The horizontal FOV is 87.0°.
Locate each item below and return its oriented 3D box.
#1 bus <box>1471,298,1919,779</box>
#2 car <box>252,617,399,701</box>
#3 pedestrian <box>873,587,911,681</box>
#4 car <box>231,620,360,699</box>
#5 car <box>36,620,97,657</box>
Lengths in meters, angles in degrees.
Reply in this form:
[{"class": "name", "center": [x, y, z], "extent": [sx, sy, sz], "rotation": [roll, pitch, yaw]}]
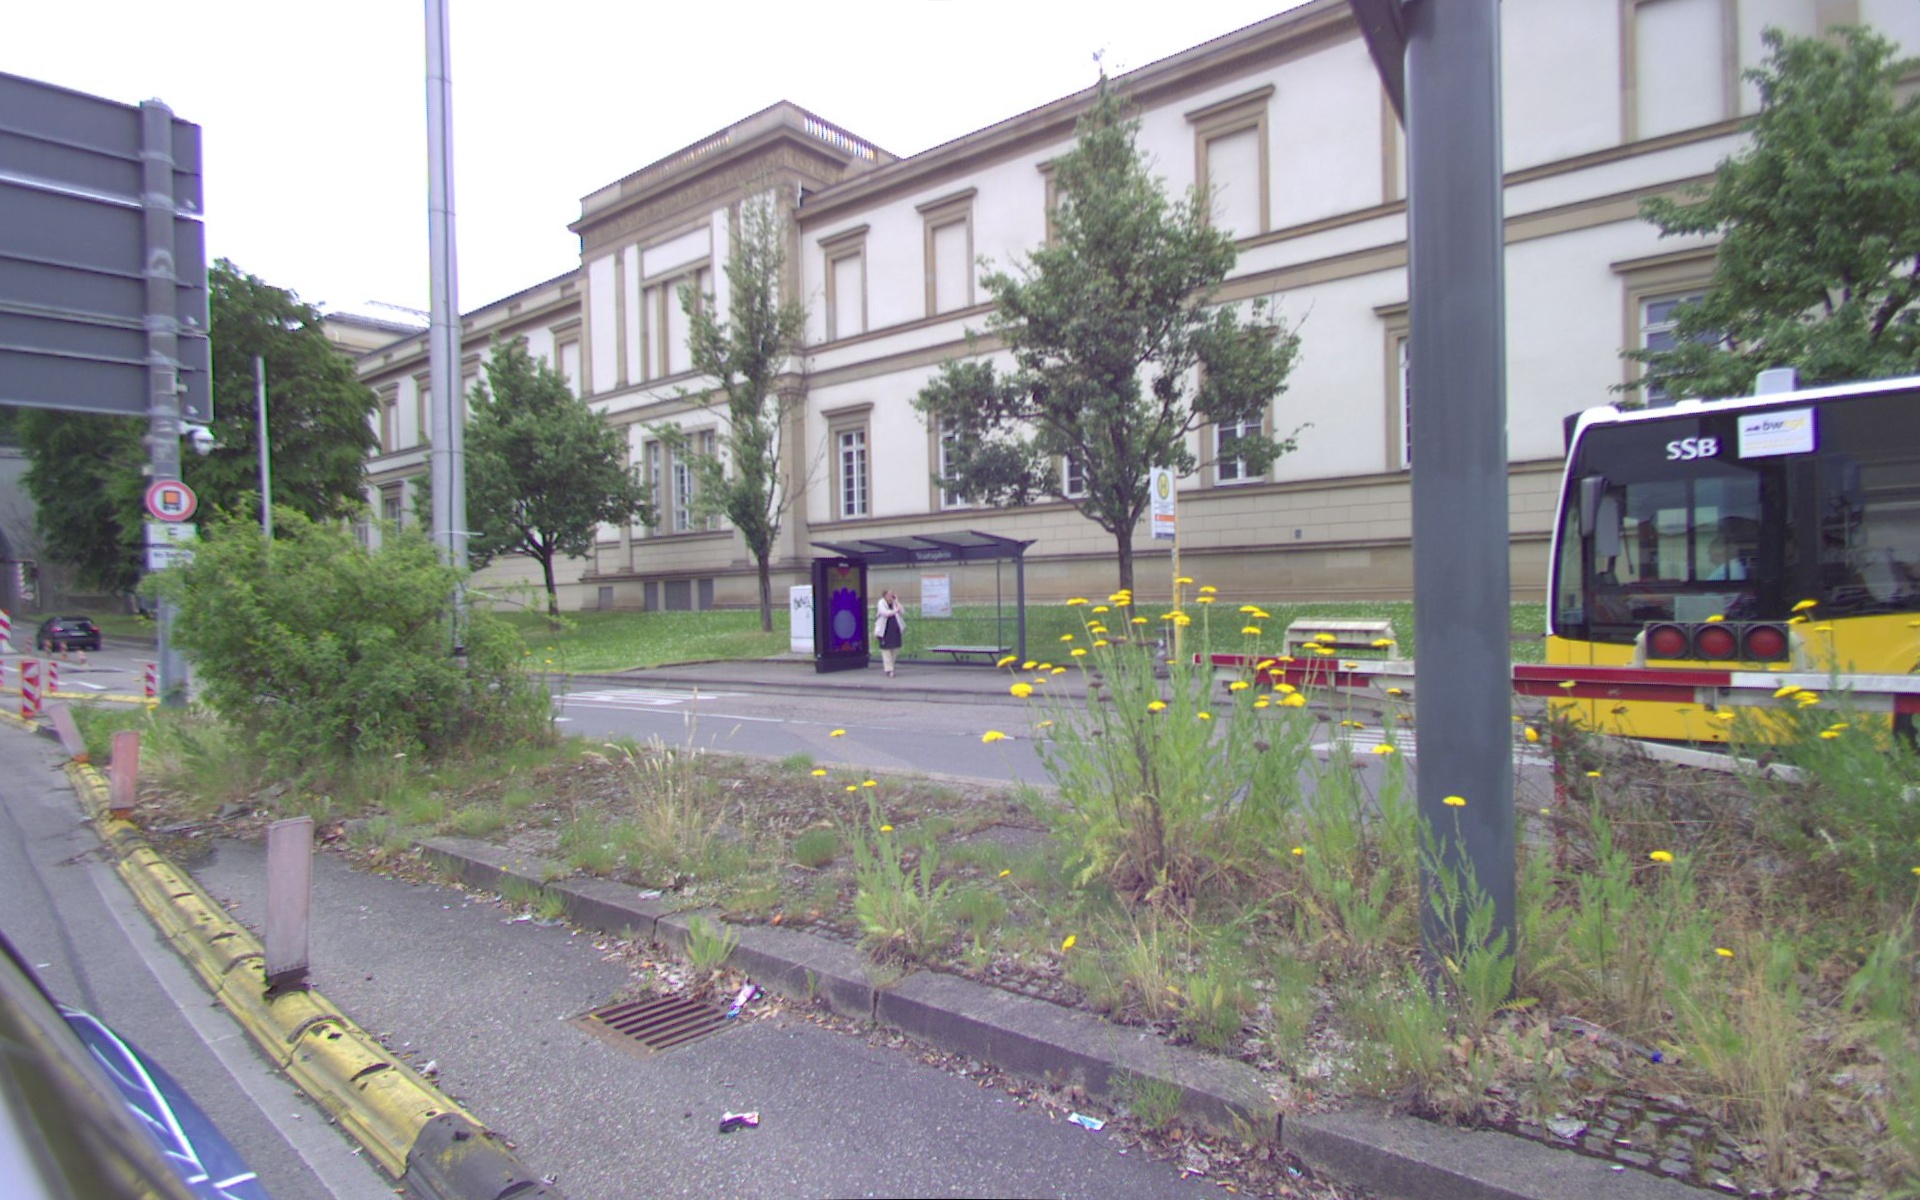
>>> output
[{"class": "bus", "center": [8.817, -0.472, 6.166], "extent": [9.748, 3.137, 2.815], "rotation": [-2, 0, 43]}, {"class": "car", "center": [-13.440, 1.185, 21.354], "extent": [3.881, 1.603, 1.645], "rotation": [-2, -2, 42]}, {"class": "pedestrian", "center": [-1.279, 0.631, 18.930], "extent": [0.578, 1.708, 0.460], "rotation": [-2, 0, -15]}, {"class": "car", "center": [-14.365, 1.248, 21.837], "extent": [2.820, 1.563, 1.520], "rotation": [-2, -1, 38]}, {"class": "car", "center": [-39.958, 1.698, 45.226], "extent": [3.881, 1.603, 1.645], "rotation": [-2, -2, 42]}]
